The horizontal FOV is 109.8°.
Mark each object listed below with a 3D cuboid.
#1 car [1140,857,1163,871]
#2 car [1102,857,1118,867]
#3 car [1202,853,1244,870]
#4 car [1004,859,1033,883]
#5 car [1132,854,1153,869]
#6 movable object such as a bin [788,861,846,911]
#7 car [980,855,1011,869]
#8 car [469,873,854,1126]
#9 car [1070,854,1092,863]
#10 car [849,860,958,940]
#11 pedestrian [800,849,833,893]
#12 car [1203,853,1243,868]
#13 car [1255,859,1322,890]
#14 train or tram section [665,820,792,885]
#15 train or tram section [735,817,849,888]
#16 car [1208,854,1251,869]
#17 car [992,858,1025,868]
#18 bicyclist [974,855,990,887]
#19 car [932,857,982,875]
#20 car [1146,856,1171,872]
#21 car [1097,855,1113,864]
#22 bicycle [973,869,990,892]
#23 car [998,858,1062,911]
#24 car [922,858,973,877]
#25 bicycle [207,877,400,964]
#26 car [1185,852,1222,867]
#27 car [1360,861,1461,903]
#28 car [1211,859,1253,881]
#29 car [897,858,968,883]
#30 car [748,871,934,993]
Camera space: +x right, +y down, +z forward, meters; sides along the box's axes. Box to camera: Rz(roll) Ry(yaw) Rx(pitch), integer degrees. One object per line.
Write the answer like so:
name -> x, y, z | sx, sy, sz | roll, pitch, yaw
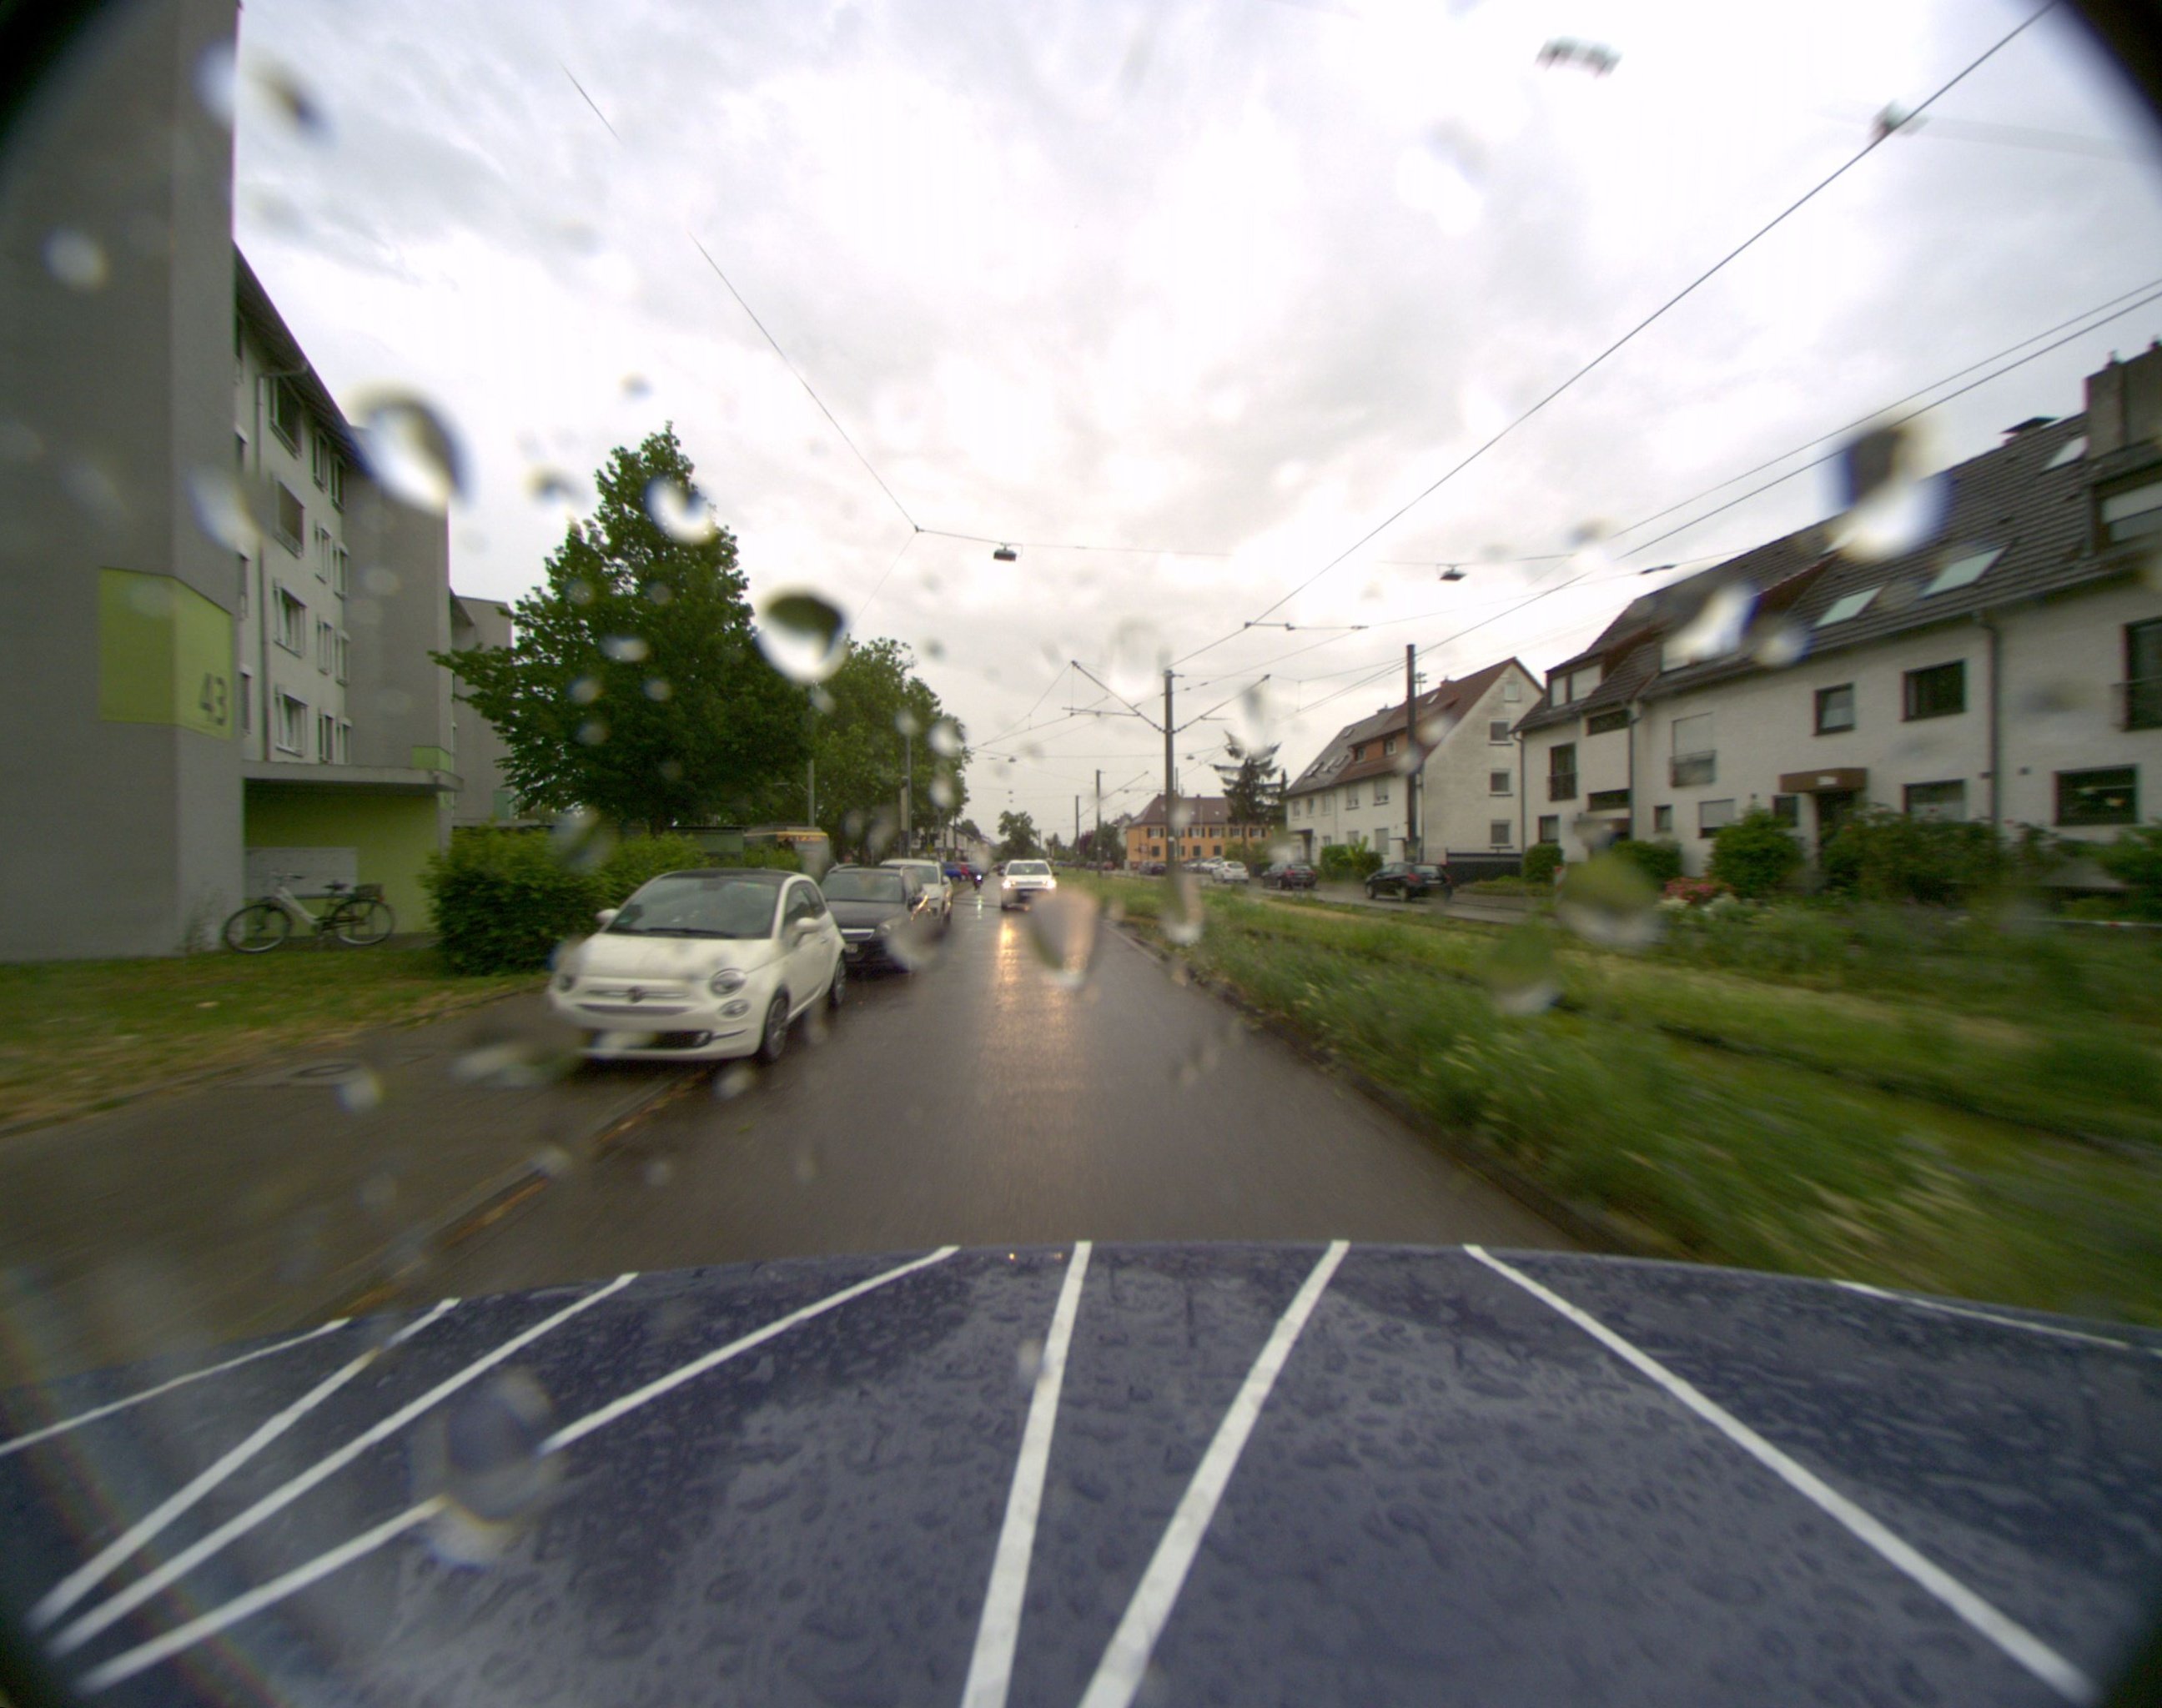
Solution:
car -> 7.758, 1.048, 84.112 | 1.882, 1.520, 3.998 | 0, 0, -4
car -> 4.472, 1.254, 117.092 | 1.886, 1.423, 4.075 | 0, 0, -6
car -> 14.897, 0.784, 80.010 | 3.998, 1.586, 1.913 | -1, 0, -3
car -> -4.151, 1.085, 50.035 | 1.854, 1.500, 4.118 | 0, 0, -5
car -> 7.489, 0.883, 93.018 | 1.999, 1.648, 3.999 | -1, 0, -2
movable object such as a bin -> -7.923, 0.938, 22.785 | 1.155, 1.432, 1.472 | 0, 0, -43
car -> -11.424, 1.089, 101.904 | 3.997, 1.712, 1.672 | -1, 1, -1
car -> -3.268, 0.976, 6.869 | 1.563, 1.510, 3.998 | 0, 0, -5
car -> 0.060, 0.817, 144.449 | 4.000, 1.637, 1.892 | 1, 0, -8
car -> -3.909, 0.941, 17.378 | 1.905, 1.565, 4.109 | 0, 0, -6
pedestrian -> -10.892, 0.687, 31.268 | 1.016, 1.764, 0.867 | 0, 1, 35
car -> 15.446, 0.710, 82.910 | 3.996, 1.586, 1.914 | -1, 0, 3
car -> 11.002, 1.062, 40.674 | 1.892, 1.522, 4.754 | 0, 0, -5
train or tram section -> -20.473, -0.078, 43.675 | 10.321, 3.320, 2.763 | 0, 0, 42
train or tram section -> -14.780, -0.077, 38.603 | 6.382, 3.320, 2.763 | 0, 0, 42
car -> 15.168, 0.760, 77.731 | 3.998, 1.455, 1.913 | -1, 0, -3
car -> -10.403, 1.259, 109.617 | 4.271, 1.423, 2.109 | -1, 0, 13
bicyclist -> -4.727, 0.818, 36.183 | 0.711, 1.503, 0.715 | 0, 0, -5
car -> -10.270, 1.000, 62.973 | 3.713, 1.475, 1.615 | 0, 0, -30
car -> 8.079, 1.009, 79.442 | 1.913, 1.581, 3.998 | 0, 0, -4
car -> 3.893, 0.952, 125.794 | 2.097, 1.423, 4.075 | 0, 0, -6
bicycle -> -4.719, 1.256, 36.058 | 0.711, 1.031, 2.098 | 0, 0, -5
car -> -1.697, 0.912, 24.566 | 1.854, 1.500, 4.118 | -1, 0, -5
car -> -10.461, 1.041, 59.417 | 3.583, 1.451, 1.615 | 0, 0, -31
bicycle -> -11.218, 0.925, 11.045 | 1.864, 1.135, 0.532 | -1, 0, -29
car -> 13.897, 0.671, 86.171 | 3.994, 1.586, 1.915 | -1, 0, 9
car -> 12.054, 0.989, 28.101 | 1.778, 1.417, 3.936 | 0, 0, -4
car -> 10.223, 1.073, 51.825 | 1.716, 1.432, 3.998 | 0, 0, -5
car -> -9.288, 1.001, 47.635 | 4.008, 1.518, 1.715 | 0, 0, -37
car -> -3.419, 1.021, 11.673 | 1.905, 1.440, 4.182 | 0, 0, -6
